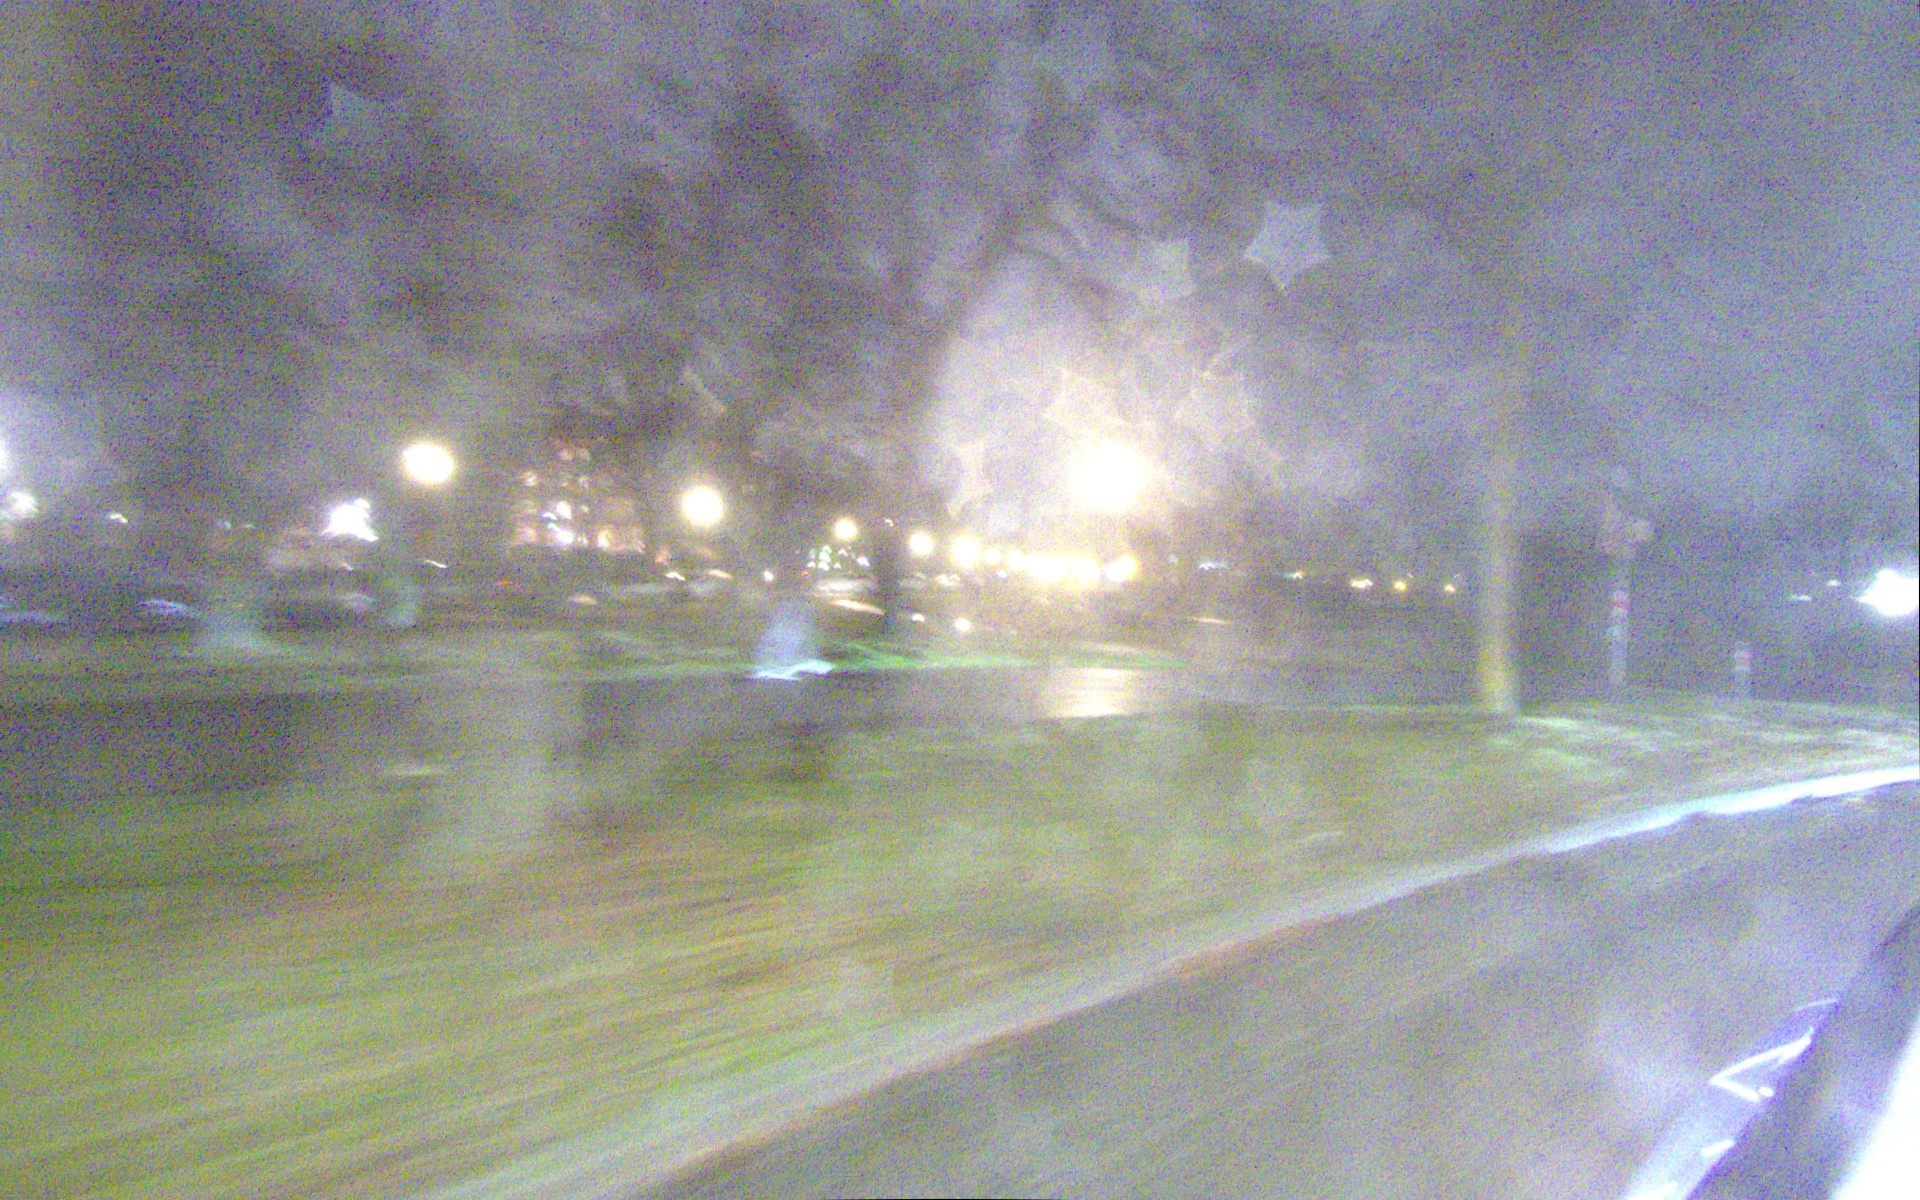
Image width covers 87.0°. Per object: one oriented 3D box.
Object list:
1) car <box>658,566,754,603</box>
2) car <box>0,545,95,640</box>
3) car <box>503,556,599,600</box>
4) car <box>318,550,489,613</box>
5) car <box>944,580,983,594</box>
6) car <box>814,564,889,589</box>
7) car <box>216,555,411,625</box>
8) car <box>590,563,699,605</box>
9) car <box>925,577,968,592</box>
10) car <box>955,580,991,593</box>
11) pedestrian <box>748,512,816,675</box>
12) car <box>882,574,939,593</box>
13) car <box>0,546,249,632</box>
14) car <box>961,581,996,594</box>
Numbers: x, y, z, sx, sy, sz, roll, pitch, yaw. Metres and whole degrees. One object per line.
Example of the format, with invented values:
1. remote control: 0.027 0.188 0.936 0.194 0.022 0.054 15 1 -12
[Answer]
1. car: -11.606 -0.697 46.311 3.849 1.555 1.716 2 0 11
2. car: -17.107 -0.195 17.114 3.849 1.515 1.716 2 0 11
3. car: -17.075 -0.865 42.441 1.765 1.703 4.053 2 0 12
4. car: -15.104 -0.499 27.534 3.849 1.555 1.716 2 0 11
5. car: 0.379 -1.439 113.516 4.084 1.392 1.716 2 0 11
6. car: -7.529 -1.638 70.548 4.916 1.555 1.716 2 0 11
7. car: -15.658 -0.248 24.602 3.849 1.515 1.716 2 0 11
8. car: -12.824 -0.633 41.250 3.849 1.555 1.716 2 0 11
9. car: -1.380 -1.563 103.346 4.084 1.392 1.716 2 0 11
10. car: 1.535 -1.555 119.288 4.084 1.392 1.716 2 0 11
11. pedestrian: -2.173 -0.075 12.424 0.714 1.926 0.655 2 0 -6
12. car: -4.466 -1.526 92.253 4.916 1.555 1.716 2 0 11
13. car: -16.147 -0.210 19.564 3.849 1.515 1.717 -1 1 11
14. car: 2.334 -1.568 126.316 4.084 1.392 1.716 2 0 11
